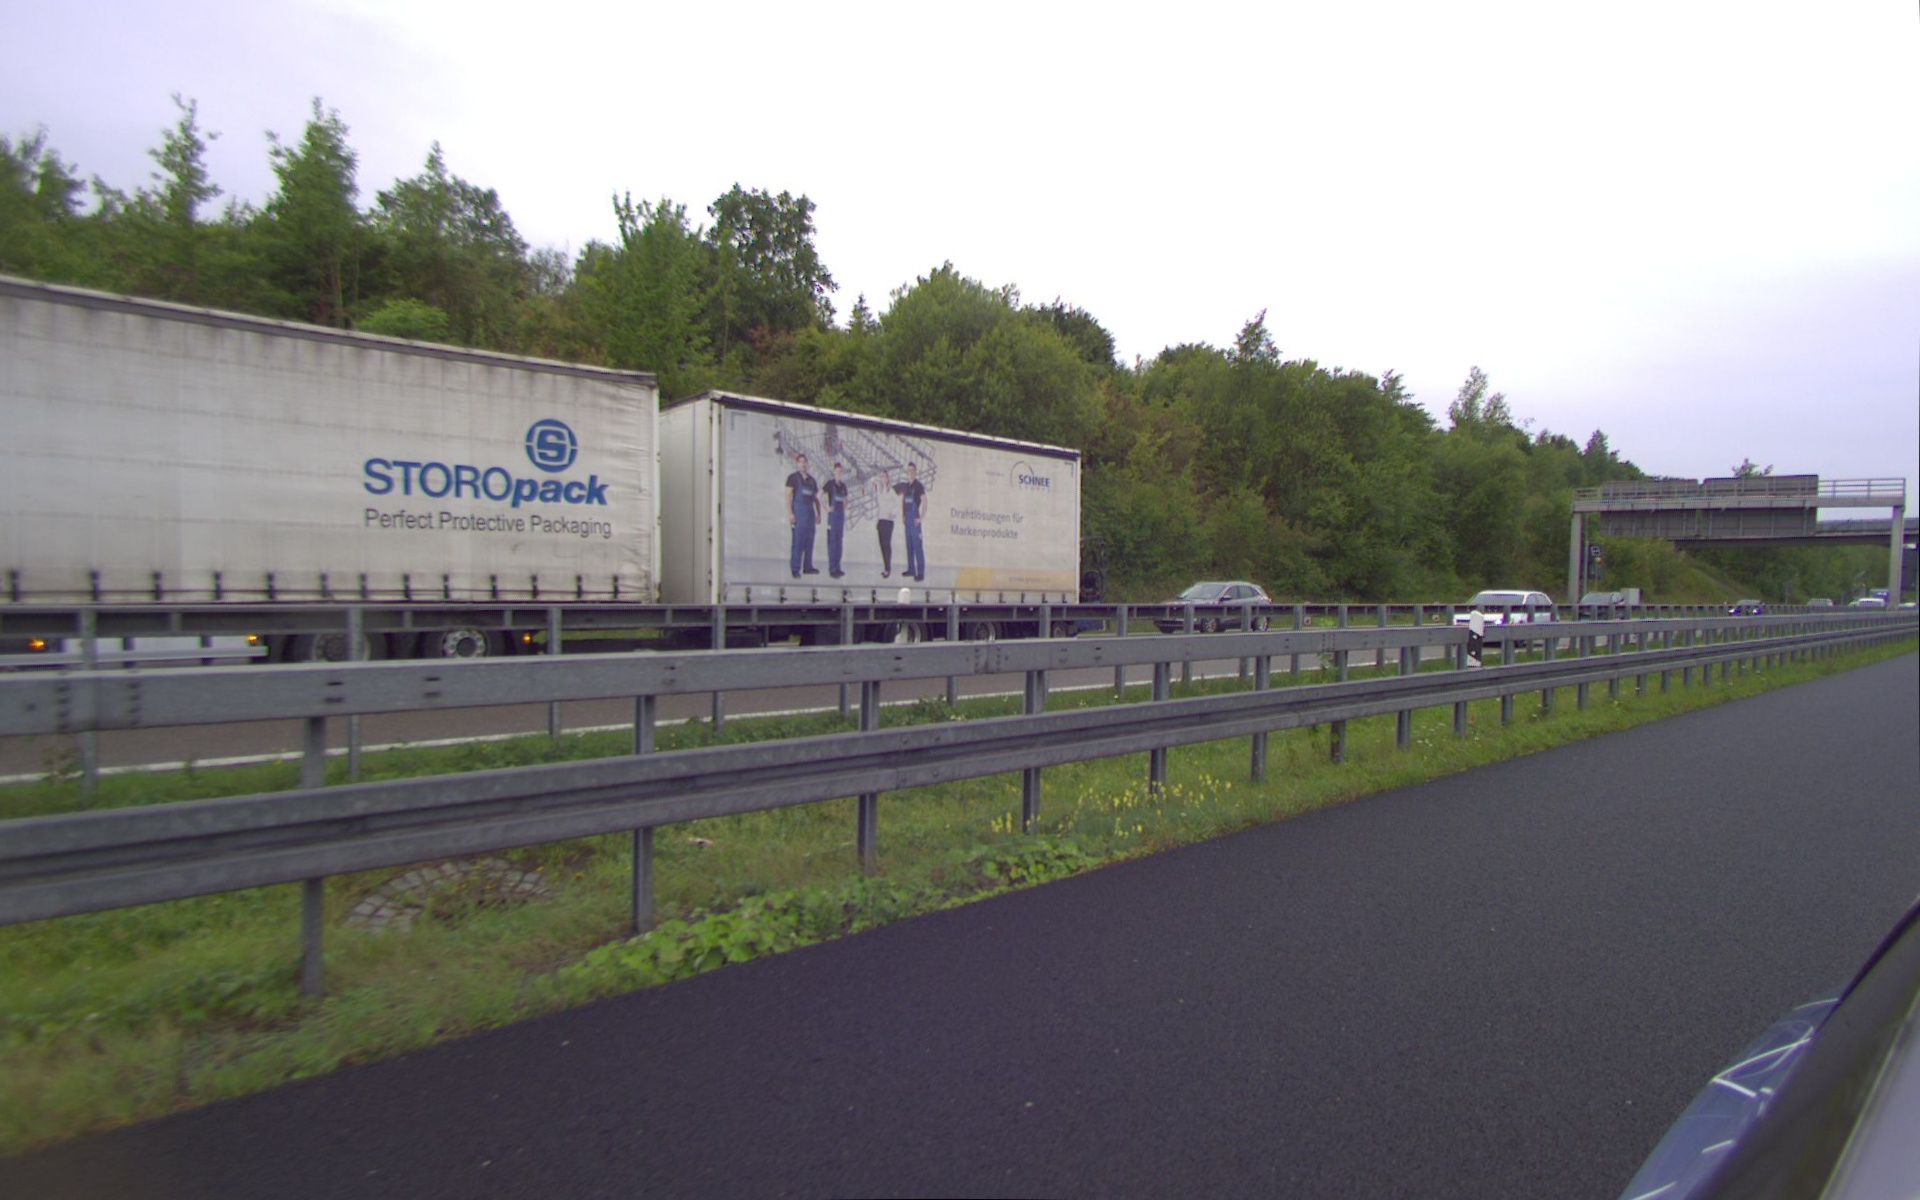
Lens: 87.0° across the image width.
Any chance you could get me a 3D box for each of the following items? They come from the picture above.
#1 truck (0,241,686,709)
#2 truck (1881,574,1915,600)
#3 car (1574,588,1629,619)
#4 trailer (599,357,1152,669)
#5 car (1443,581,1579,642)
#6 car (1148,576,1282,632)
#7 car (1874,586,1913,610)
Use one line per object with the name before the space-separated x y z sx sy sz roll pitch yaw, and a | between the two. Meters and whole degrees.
truck | -8.742 -1.199 11.859 10.238 4.343 3.443 0 1 -42
truck | 126.277 -1.774 136.234 9.130 3.460 2.904 -1 1 -44
car | 35.692 0.164 56.287 1.859 1.602 4.175 1 1 43
trailer | -0.999 -1.261 18.849 10.273 4.343 3.442 0 1 -42
car | 14.505 0.255 26.581 4.086 1.465 1.863 -1 1 -42
car | 8.020 0.075 31.675 4.420 1.634 1.863 0 1 -40
car | 76.430 -0.190 82.859 4.567 1.827 1.863 0 1 -42
